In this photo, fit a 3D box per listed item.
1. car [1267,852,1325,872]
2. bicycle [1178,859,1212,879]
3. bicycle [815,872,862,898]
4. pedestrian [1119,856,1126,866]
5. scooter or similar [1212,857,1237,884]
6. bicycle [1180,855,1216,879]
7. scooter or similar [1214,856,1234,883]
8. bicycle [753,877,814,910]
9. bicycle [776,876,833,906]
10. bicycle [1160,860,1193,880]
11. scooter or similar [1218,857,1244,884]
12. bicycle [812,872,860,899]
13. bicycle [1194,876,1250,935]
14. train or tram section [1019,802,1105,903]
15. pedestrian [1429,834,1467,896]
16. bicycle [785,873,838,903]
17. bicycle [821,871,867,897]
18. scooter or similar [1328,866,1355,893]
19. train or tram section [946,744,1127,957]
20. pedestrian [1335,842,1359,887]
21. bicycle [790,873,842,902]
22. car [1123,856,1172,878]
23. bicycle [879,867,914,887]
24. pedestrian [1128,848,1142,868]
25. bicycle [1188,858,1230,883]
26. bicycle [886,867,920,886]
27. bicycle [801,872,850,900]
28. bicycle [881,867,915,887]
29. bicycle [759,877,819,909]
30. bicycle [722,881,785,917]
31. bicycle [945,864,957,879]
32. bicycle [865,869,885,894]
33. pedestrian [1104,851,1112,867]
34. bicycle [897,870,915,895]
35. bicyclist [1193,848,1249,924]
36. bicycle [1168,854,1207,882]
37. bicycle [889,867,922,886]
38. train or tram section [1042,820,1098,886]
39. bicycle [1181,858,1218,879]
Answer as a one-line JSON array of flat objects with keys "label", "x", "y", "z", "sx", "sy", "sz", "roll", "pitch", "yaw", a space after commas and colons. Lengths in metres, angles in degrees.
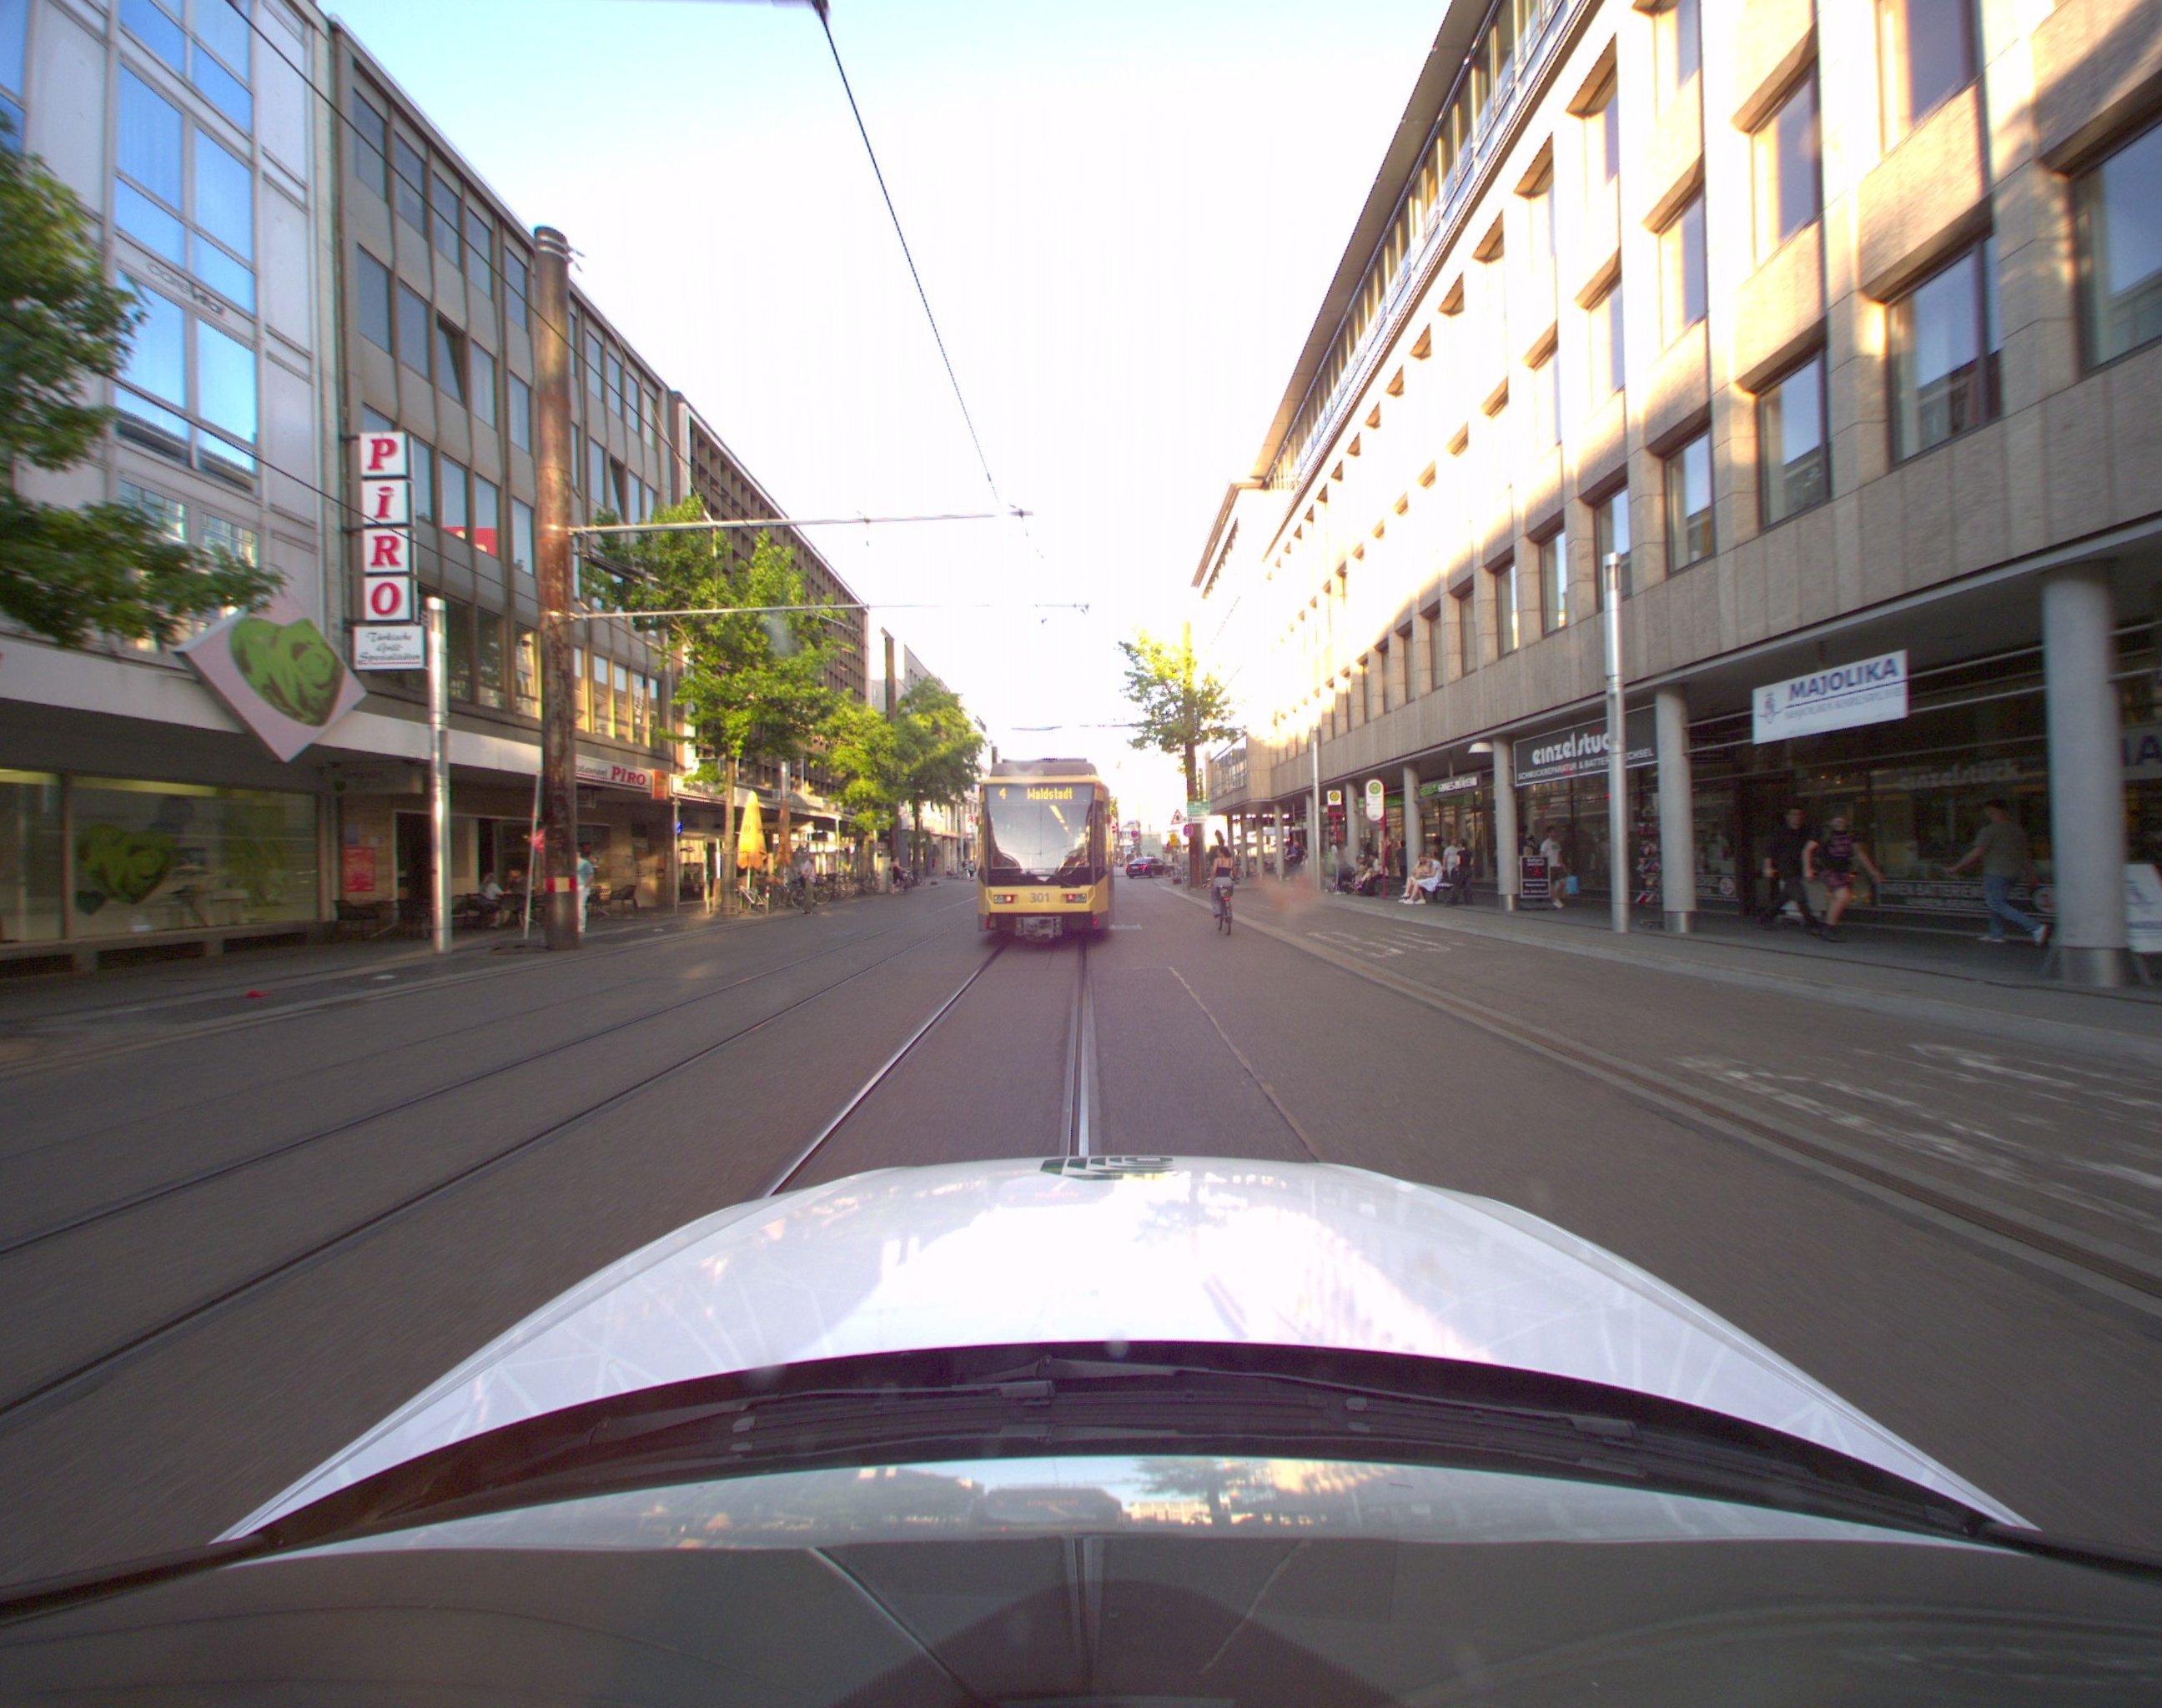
[{"label": "car", "x": 15.873, "y": 0.613, "z": 60.278, "sx": 3.872, "sy": 1.409, "sz": 1.777, "roll": -1, "pitch": -1, "yaw": 3}, {"label": "bicycle", "x": 6.802, "y": 0.879, "z": 48.560, "sx": 1.848, "sy": 1.109, "sz": 0.666, "roll": -3, "pitch": 0, "yaw": -3}, {"label": "bicycle", "x": -9.947, "y": 1.266, "z": 33.475, "sx": 1.769, "sy": 1.071, "sz": 0.488, "roll": 0, "pitch": 0, "yaw": -6}, {"label": "pedestrian", "x": 5.146, "y": 0.906, "z": 101.154, "sx": 0.790, "sy": 1.221, "sz": 0.768, "roll": -1, "pitch": 0, "yaw": -3}, {"label": "scooter or similar", "x": 6.973, "y": 0.787, "z": 39.597, "sx": 1.195, "sy": 1.251, "sz": 0.389, "roll": -3, "pitch": 0, "yaw": -29}, {"label": "bicycle", "x": 6.731, "y": 0.735, "z": 46.898, "sx": 1.912, "sy": 1.222, "sz": 0.762, "roll": -4, "pitch": 0, "yaw": -5}, {"label": "scooter or similar", "x": 7.043, "y": 0.771, "z": 40.186, "sx": 0.388, "sy": 1.251, "sz": 1.199, "roll": -3, "pitch": 0, "yaw": 38}, {"label": "bicycle", "x": -9.514, "y": 1.257, "z": 26.062, "sx": 1.769, "sy": 0.990, "sz": 0.488, "roll": 0, "pitch": 1, "yaw": -6}, {"label": "bicycle", "x": -9.495, "y": 1.275, "z": 28.002, "sx": 1.769, "sy": 0.990, "sz": 0.488, "roll": 0, "pitch": 1, "yaw": -6}, {"label": "bicycle", "x": 5.667, "y": 0.944, "z": 48.344, "sx": 1.848, "sy": 1.109, "sz": 0.666, "roll": -3, "pitch": 0, "yaw": -3}, {"label": "scooter or similar", "x": 7.147, "y": 0.781, "z": 38.862, "sx": 1.119, "sy": 1.251, "sz": 0.492, "roll": -3, "pitch": 0, "yaw": -30}, {"label": "bicycle", "x": -9.898, "y": 1.261, "z": 32.931, "sx": 1.769, "sy": 1.071, "sz": 0.488, "roll": 0, "pitch": 0, "yaw": -6}, {"label": "bicycle", "x": 2.823, "y": 1.007, "z": 16.499, "sx": 0.812, "sy": 1.073, "sz": 2.114, "roll": 0, "pitch": 0, "yaw": 1}, {"label": "train or tram section", "x": -0.604, "y": -0.053, "z": 34.770, "sx": 2.791, "sy": 3.319, "sz": 14.506, "roll": -2, "pitch": 0, "yaw": 0}, {"label": "pedestrian", "x": 10.104, "y": 0.306, "z": 22.437, "sx": 0.685, "sy": 1.661, "sz": 0.722, "roll": -3, "pitch": -1, "yaw": 2}, {"label": "bicycle", "x": -9.894, "y": 1.233, "z": 29.892, "sx": 1.769, "sy": 1.071, "sz": 0.488, "roll": 0, "pitch": 0, "yaw": -6}, {"label": "bicycle", "x": -9.930, "y": 1.272, "z": 34.128, "sx": 1.769, "sy": 1.071, "sz": 0.488, "roll": 0, "pitch": 0, "yaw": -6}, {"label": "scooter or similar", "x": 8.713, "y": 0.835, "z": 27.229, "sx": 0.827, "sy": 0.884, "sz": 0.689, "roll": 0, "pitch": -1, "yaw": 14}, {"label": "train or tram section", "x": -0.672, "y": -0.057, "z": 20.208, "sx": 2.791, "sy": 3.319, "sz": 14.506, "roll": -2, "pitch": 0, "yaw": 0}, {"label": "pedestrian", "x": 10.143, "y": 0.406, "z": 31.121, "sx": 0.646, "sy": 1.661, "sz": 0.650, "roll": -3, "pitch": 0, "yaw": 1}, {"label": "bicycle", "x": -9.907, "y": 1.238, "z": 30.470, "sx": 1.769, "sy": 1.071, "sz": 0.488, "roll": 0, "pitch": 0, "yaw": -6}, {"label": "car", "x": 4.642, "y": 0.888, "z": 56.369, "sx": 1.753, "sy": 1.409, "sz": 4.077, "roll": -2, "pitch": -1, "yaw": 30}, {"label": "bicycle", "x": -9.887, "y": 1.240, "z": 43.761, "sx": 1.766, "sy": 1.045, "sz": 0.489, "roll": 0, "pitch": 0, "yaw": 0}, {"label": "pedestrian", "x": 5.096, "y": 0.364, "z": 77.045, "sx": 1.015, "sy": 1.863, "sz": 1.037, "roll": -1, "pitch": -1, "yaw": -14}, {"label": "bicycle", "x": 6.751, "y": 0.857, "z": 42.996, "sx": 1.992, "sy": 1.155, "sz": 0.724, "roll": -4, "pitch": 0, "yaw": -5}, {"label": "bicycle", "x": -9.869, "y": 1.252, "z": 45.064, "sx": 1.766, "sy": 1.045, "sz": 0.489, "roll": 0, "pitch": 0, "yaw": 0}, {"label": "bicycle", "x": -9.944, "y": 1.250, "z": 31.711, "sx": 1.769, "sy": 1.071, "sz": 0.488, "roll": 0, "pitch": 0, "yaw": -6}, {"label": "bicycle", "x": -9.881, "y": 1.242, "z": 44.003, "sx": 1.766, "sy": 1.045, "sz": 0.489, "roll": 0, "pitch": 0, "yaw": 0}, {"label": "bicycle", "x": -9.517, "y": 1.262, "z": 26.590, "sx": 1.769, "sy": 0.990, "sz": 0.488, "roll": 0, "pitch": 1, "yaw": -6}, {"label": "bicycle", "x": -9.479, "y": 1.295, "z": 23.583, "sx": 1.758, "sy": 0.966, "sz": 0.491, "roll": 0, "pitch": -1, "yaw": 17}, {"label": "bicycle", "x": -10.681, "y": 1.421, "z": 66.891, "sx": 0.496, "sy": 1.107, "sz": 1.803, "roll": -2, "pitch": 1, "yaw": 6}, {"label": "bicycle", "x": -9.220, "y": 1.219, "z": 36.455, "sx": 0.487, "sy": 1.045, "sz": 1.776, "roll": -1, "pitch": 0, "yaw": -2}, {"label": "pedestrian", "x": 3.293, "y": 0.586, "z": 97.999, "sx": 0.734, "sy": 1.823, "sz": 0.816, "roll": -1, "pitch": 0, "yaw": -14}, {"label": "bicycle", "x": -7.851, "y": 1.264, "z": 36.646, "sx": 0.487, "sy": 1.045, "sz": 1.776, "roll": -1, "pitch": 0, "yaw": -2}, {"label": "bicyclist", "x": 2.811, "y": 0.624, "z": 16.399, "sx": 0.993, "sy": 1.502, "sz": 0.857, "roll": 0, "pitch": 0, "yaw": 1}, {"label": "bicycle", "x": 5.758, "y": 0.750, "z": 44.070, "sx": 1.912, "sy": 1.333, "sz": 0.724, "roll": -4, "pitch": 0, "yaw": -5}, {"label": "bicycle", "x": -9.826, "y": 1.256, "z": 45.645, "sx": 1.766, "sy": 1.045, "sz": 0.489, "roll": 0, "pitch": 0, "yaw": 0}, {"label": "train or tram section", "x": -0.544, "y": -0.044, "z": 49.290, "sx": 2.791, "sy": 3.319, "sz": 14.506, "roll": -2, "pitch": 0, "yaw": 0}, {"label": "bicycle", "x": 6.723, "y": 0.812, "z": 46.150, "sx": 1.912, "sy": 1.077, "sz": 0.762, "roll": -4, "pitch": 0, "yaw": -5}]
